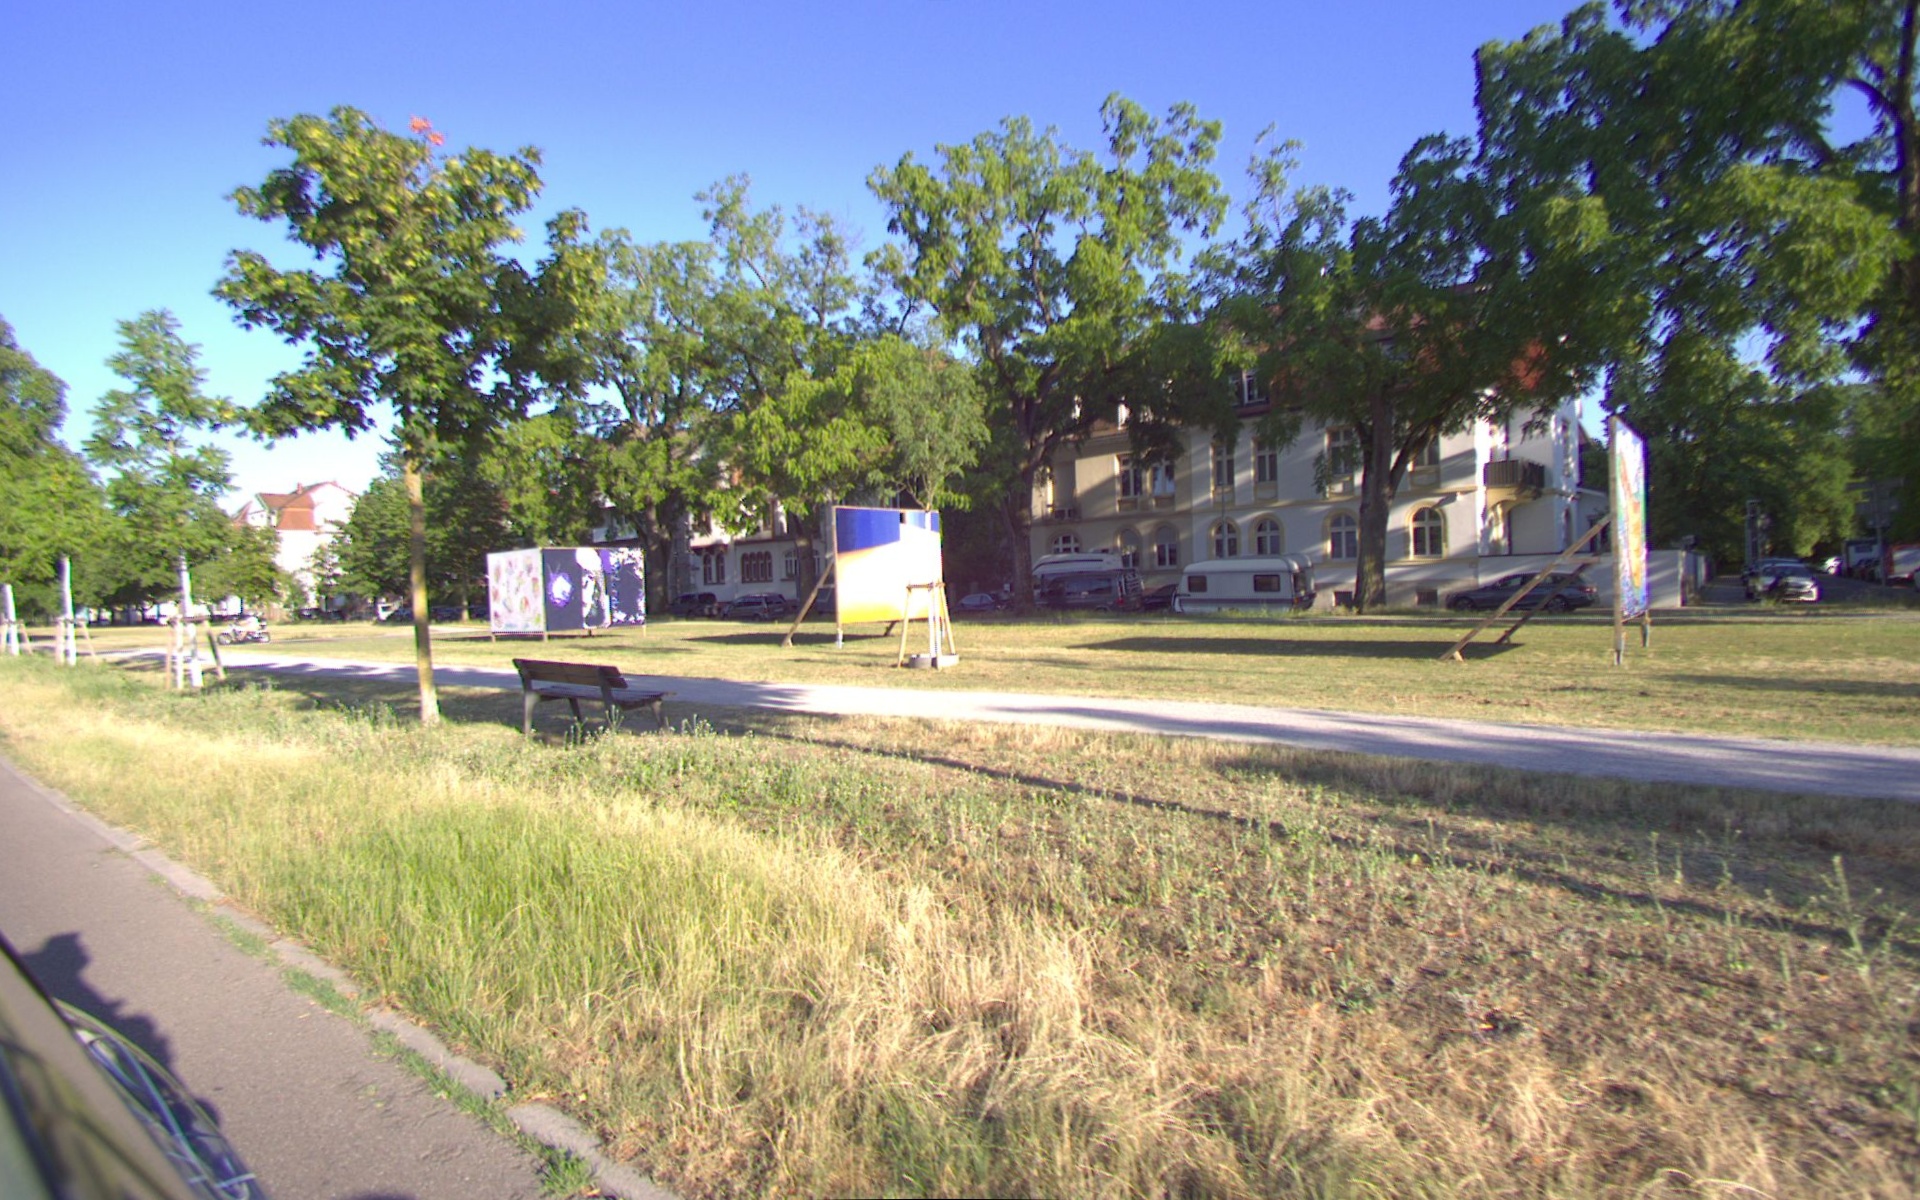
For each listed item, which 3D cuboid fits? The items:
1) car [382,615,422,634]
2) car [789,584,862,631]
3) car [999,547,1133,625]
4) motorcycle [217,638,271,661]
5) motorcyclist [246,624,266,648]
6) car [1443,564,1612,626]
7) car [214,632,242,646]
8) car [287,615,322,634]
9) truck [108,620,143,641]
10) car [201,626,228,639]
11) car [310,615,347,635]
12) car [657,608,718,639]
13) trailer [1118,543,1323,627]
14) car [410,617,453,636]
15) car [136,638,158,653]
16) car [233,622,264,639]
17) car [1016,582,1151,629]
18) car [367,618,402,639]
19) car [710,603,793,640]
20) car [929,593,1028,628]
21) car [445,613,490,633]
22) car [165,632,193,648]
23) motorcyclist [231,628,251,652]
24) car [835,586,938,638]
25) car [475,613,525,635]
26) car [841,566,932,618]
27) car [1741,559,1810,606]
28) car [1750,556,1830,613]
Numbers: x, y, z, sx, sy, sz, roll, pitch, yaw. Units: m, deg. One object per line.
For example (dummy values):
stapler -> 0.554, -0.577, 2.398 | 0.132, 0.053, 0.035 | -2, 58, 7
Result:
car -> -45.910, 2.016, 83.234 | 3.636, 1.341, 1.542 | -3, -1, 37
car -> -7.757, 0.393, 58.175 | 3.998, 2.560, 1.973 | 0, 1, 41
car -> 4.844, -0.591, 47.080 | 6.071, 3.274, 1.973 | -3, -1, 41
motorcycle -> -35.450, 2.434, 50.099 | 0.565, 0.964, 2.086 | -2, 1, 36
motorcyclist -> -35.211, 1.791, 50.610 | 0.749, 1.158, 0.568 | -2, 0, 36
car -> 19.365, -0.152, 34.680 | 4.712, 1.927, 1.870 | -2, 0, 42
car -> -99.131, 5.277, 137.079 | 3.995, 1.897, 1.974 | -1, -3, 38
car -> -65.177, 2.426, 100.595 | 3.999, 1.858, 1.972 | -1, -3, 42
truck -> -130.557, 4.772, 158.308 | 7.704, 3.170, 2.750 | -2, 0, 40
car -> -104.924, 4.572, 142.449 | 3.995, 1.859, 1.974 | -1, -3, 38
car -> -60.040, 2.366, 96.182 | 3.999, 1.858, 1.972 | -1, -3, 42
car -> -18.103, 1.568, 67.163 | 4.281, 1.838, 1.605 | -3, -1, 37
trailer -> 9.071, -0.421, 35.710 | 6.632, 2.679, 2.448 | -1, -3, 41
car -> -41.725, 2.093, 79.862 | 3.636, 1.427, 1.542 | -3, -1, 37
car -> -118.757, 6.621, 147.884 | 4.000, 2.029, 1.972 | -3, -1, 43
car -> -80.324, 3.461, 114.233 | 3.998, 1.715, 1.973 | -3, -1, 41
car -> 4.772, 0.235, 39.647 | 4.947, 1.654, 1.974 | -2, 1, 40
car -> -59.007, 2.934, 103.736 | 4.001, 2.029, 1.971 | -2, 0, 44
car -> -11.004, 1.136, 53.295 | 4.341, 1.742, 1.973 | -3, -1, 40
car -> 0.752, 0.461, 43.024 | 4.043, 1.325, 1.833 | -1, 2, 44
car -> -36.884, 1.746, 75.756 | 3.636, 1.379, 1.542 | -3, -1, 37
car -> -103.739, 5.309, 134.449 | 3.996, 2.029, 2.099 | -1, -3, 40
motorcyclist -> -35.548, 1.966, 50.053 | 0.749, 1.158, 0.568 | -2, 0, 36
car -> -3.429, 0.570, 46.726 | 4.566, 2.191, 1.974 | -3, -1, 39
car -> -32.825, 1.725, 72.145 | 3.636, 1.418, 1.672 | -3, -1, 37
car -> -4.053, -0.368, 55.048 | 5.042, 2.660, 1.925 | -1, -3, 41
car -> 33.768, -0.741, 41.867 | 2.070, 1.782, 5.001 | -2, 0, 40
car -> 30.569, -0.581, 37.382 | 1.977, 1.914, 4.472 | -2, 0, 36
